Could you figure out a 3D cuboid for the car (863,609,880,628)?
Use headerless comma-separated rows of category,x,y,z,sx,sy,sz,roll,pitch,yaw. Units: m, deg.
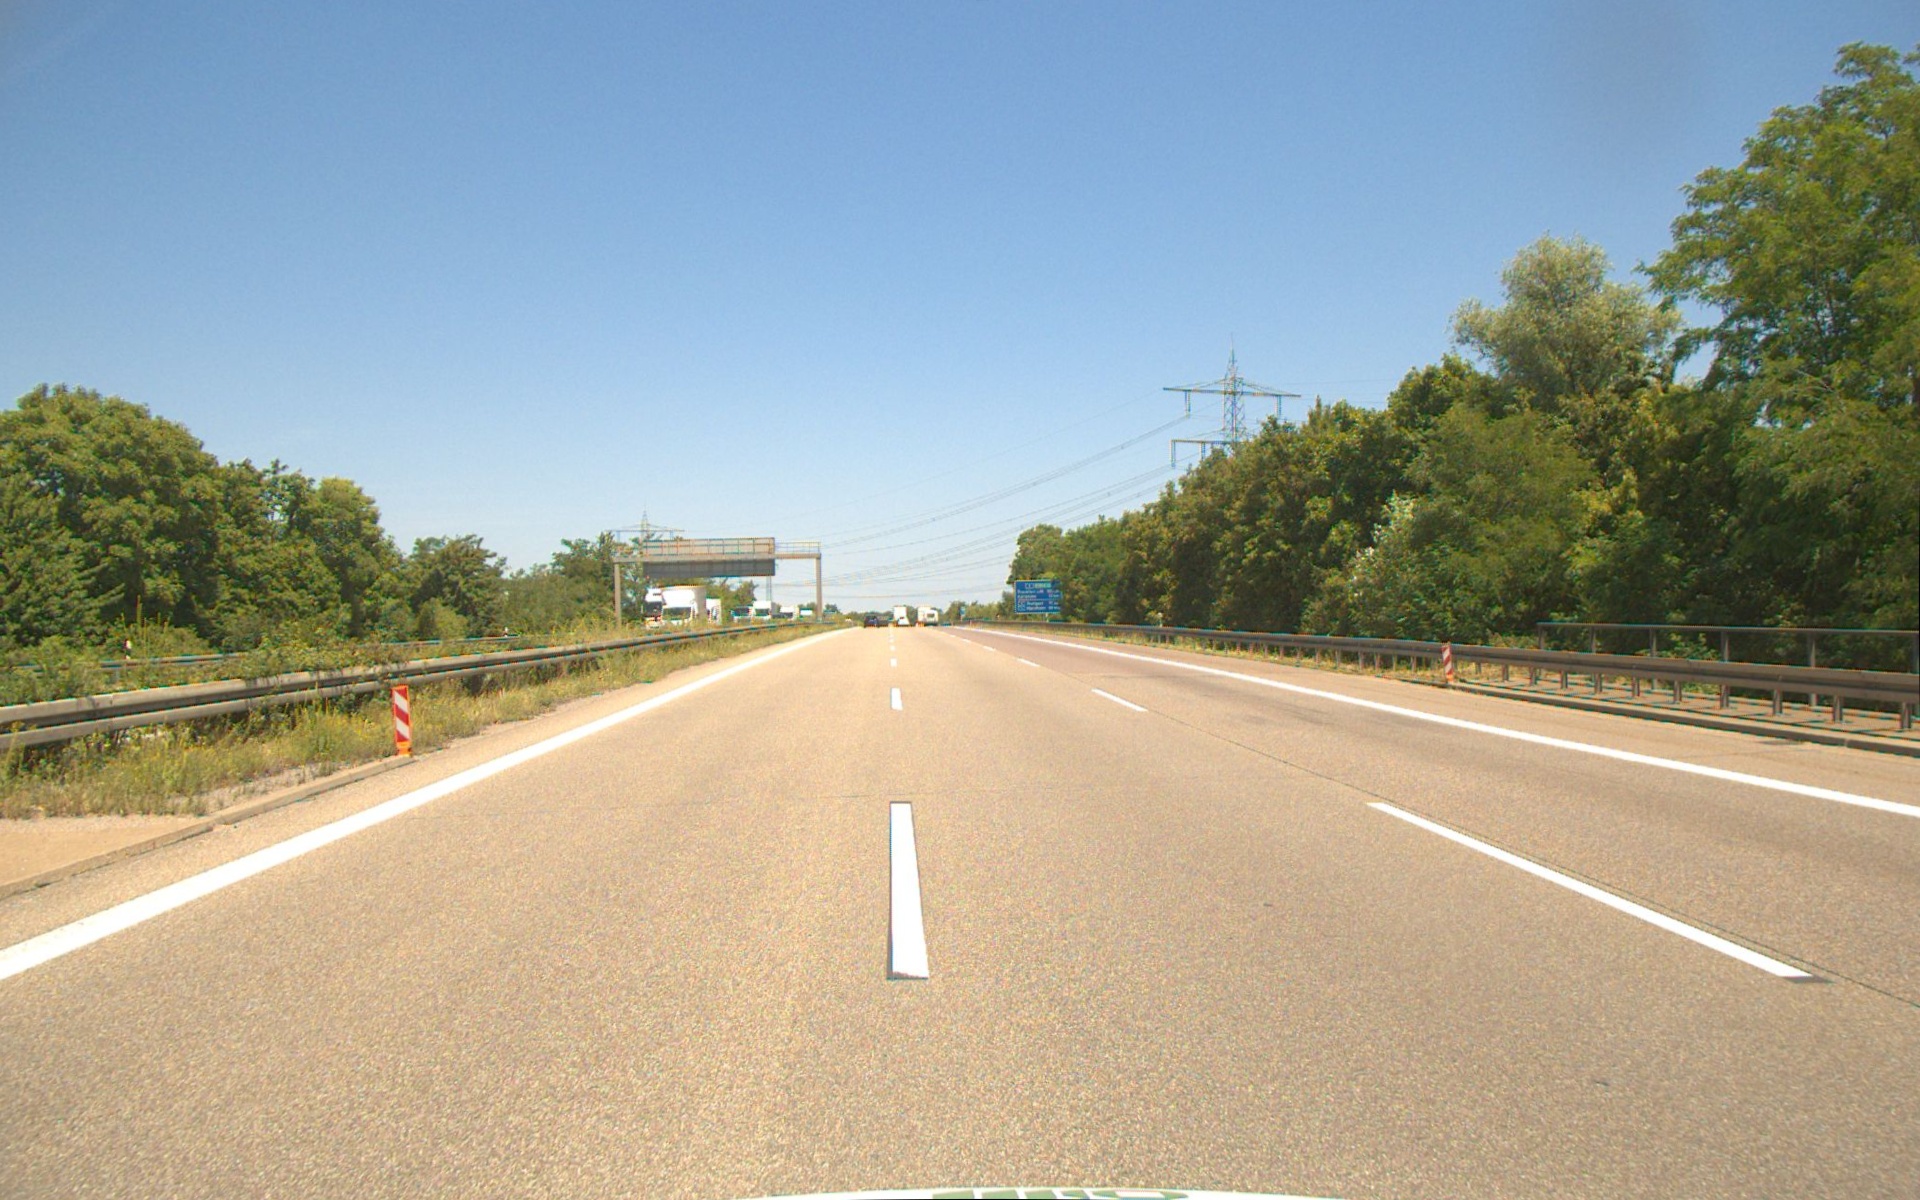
car,-9.831,2.020,184.172,1.755,2.049,3.886,0,0,-2

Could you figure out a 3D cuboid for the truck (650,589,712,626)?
truck,-17.031,0.463,101.344,2.673,2.103,7.135,-1,0,-1

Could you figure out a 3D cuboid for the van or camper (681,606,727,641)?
van or camper,-20.154,1.805,130.575,2.418,2.605,7.806,-1,0,-1

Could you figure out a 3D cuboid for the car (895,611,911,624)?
car,-8.799,2.722,254.036,2.132,1.963,4.612,-1,-1,1

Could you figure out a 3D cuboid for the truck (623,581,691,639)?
truck,-26.120,0.863,143.532,3.152,4.453,17.182,-4,0,-3

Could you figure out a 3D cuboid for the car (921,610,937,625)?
car,-4.277,2.417,227.183,1.954,2.049,3.998,-1,-1,-3
